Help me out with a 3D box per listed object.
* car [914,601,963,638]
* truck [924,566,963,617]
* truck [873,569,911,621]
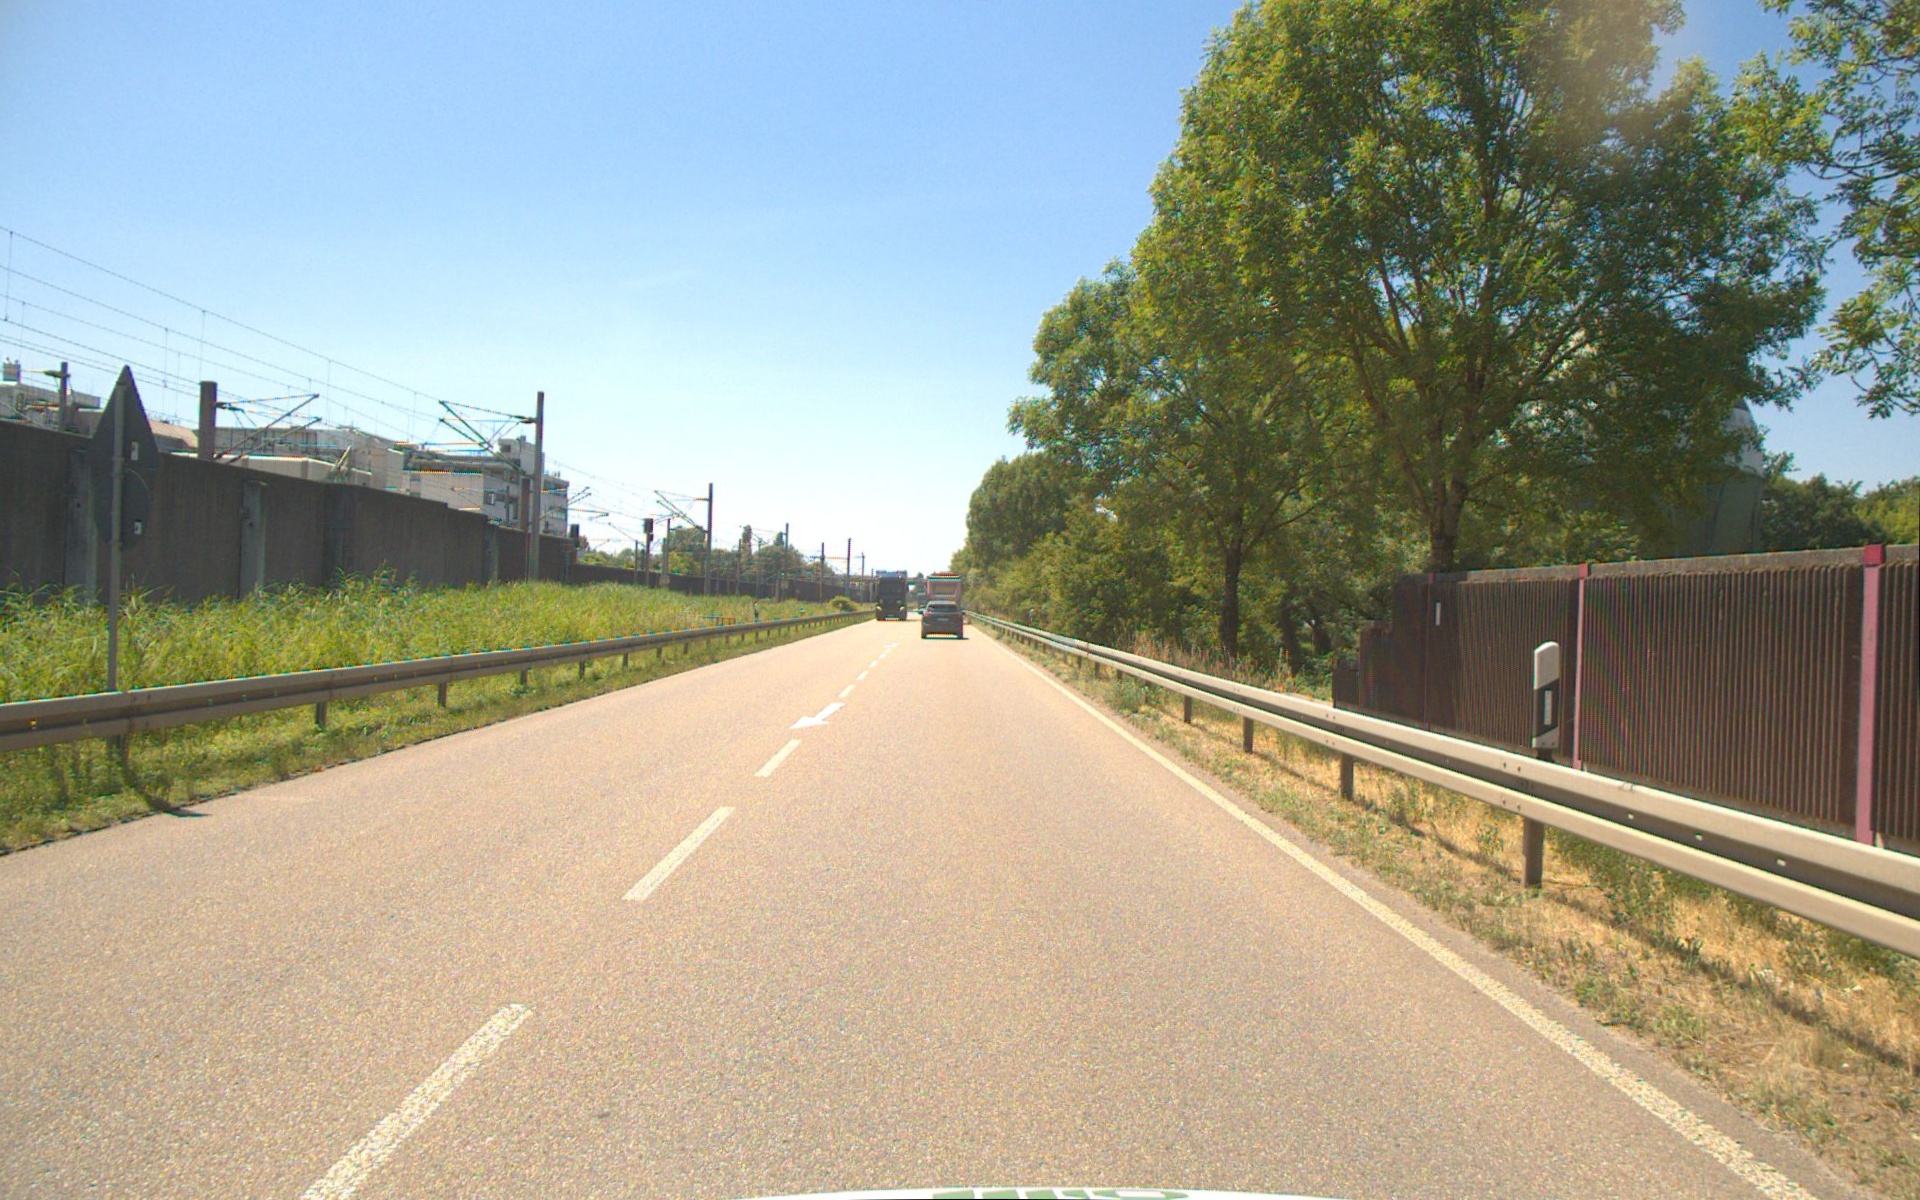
[{"bbox_3d":[-0.951,0.809,70.496,1.954,1.534,3.998,1,0,-3],"label":"car"},{"bbox_3d":[-1.224,-0.585,120.640,2.714,3.485,10.817,1,0,-1],"label":"truck"},{"bbox_3d":[-5.582,-0.412,138.113,2.740,4.047,10.498,2,0,-1],"label":"truck"}]
